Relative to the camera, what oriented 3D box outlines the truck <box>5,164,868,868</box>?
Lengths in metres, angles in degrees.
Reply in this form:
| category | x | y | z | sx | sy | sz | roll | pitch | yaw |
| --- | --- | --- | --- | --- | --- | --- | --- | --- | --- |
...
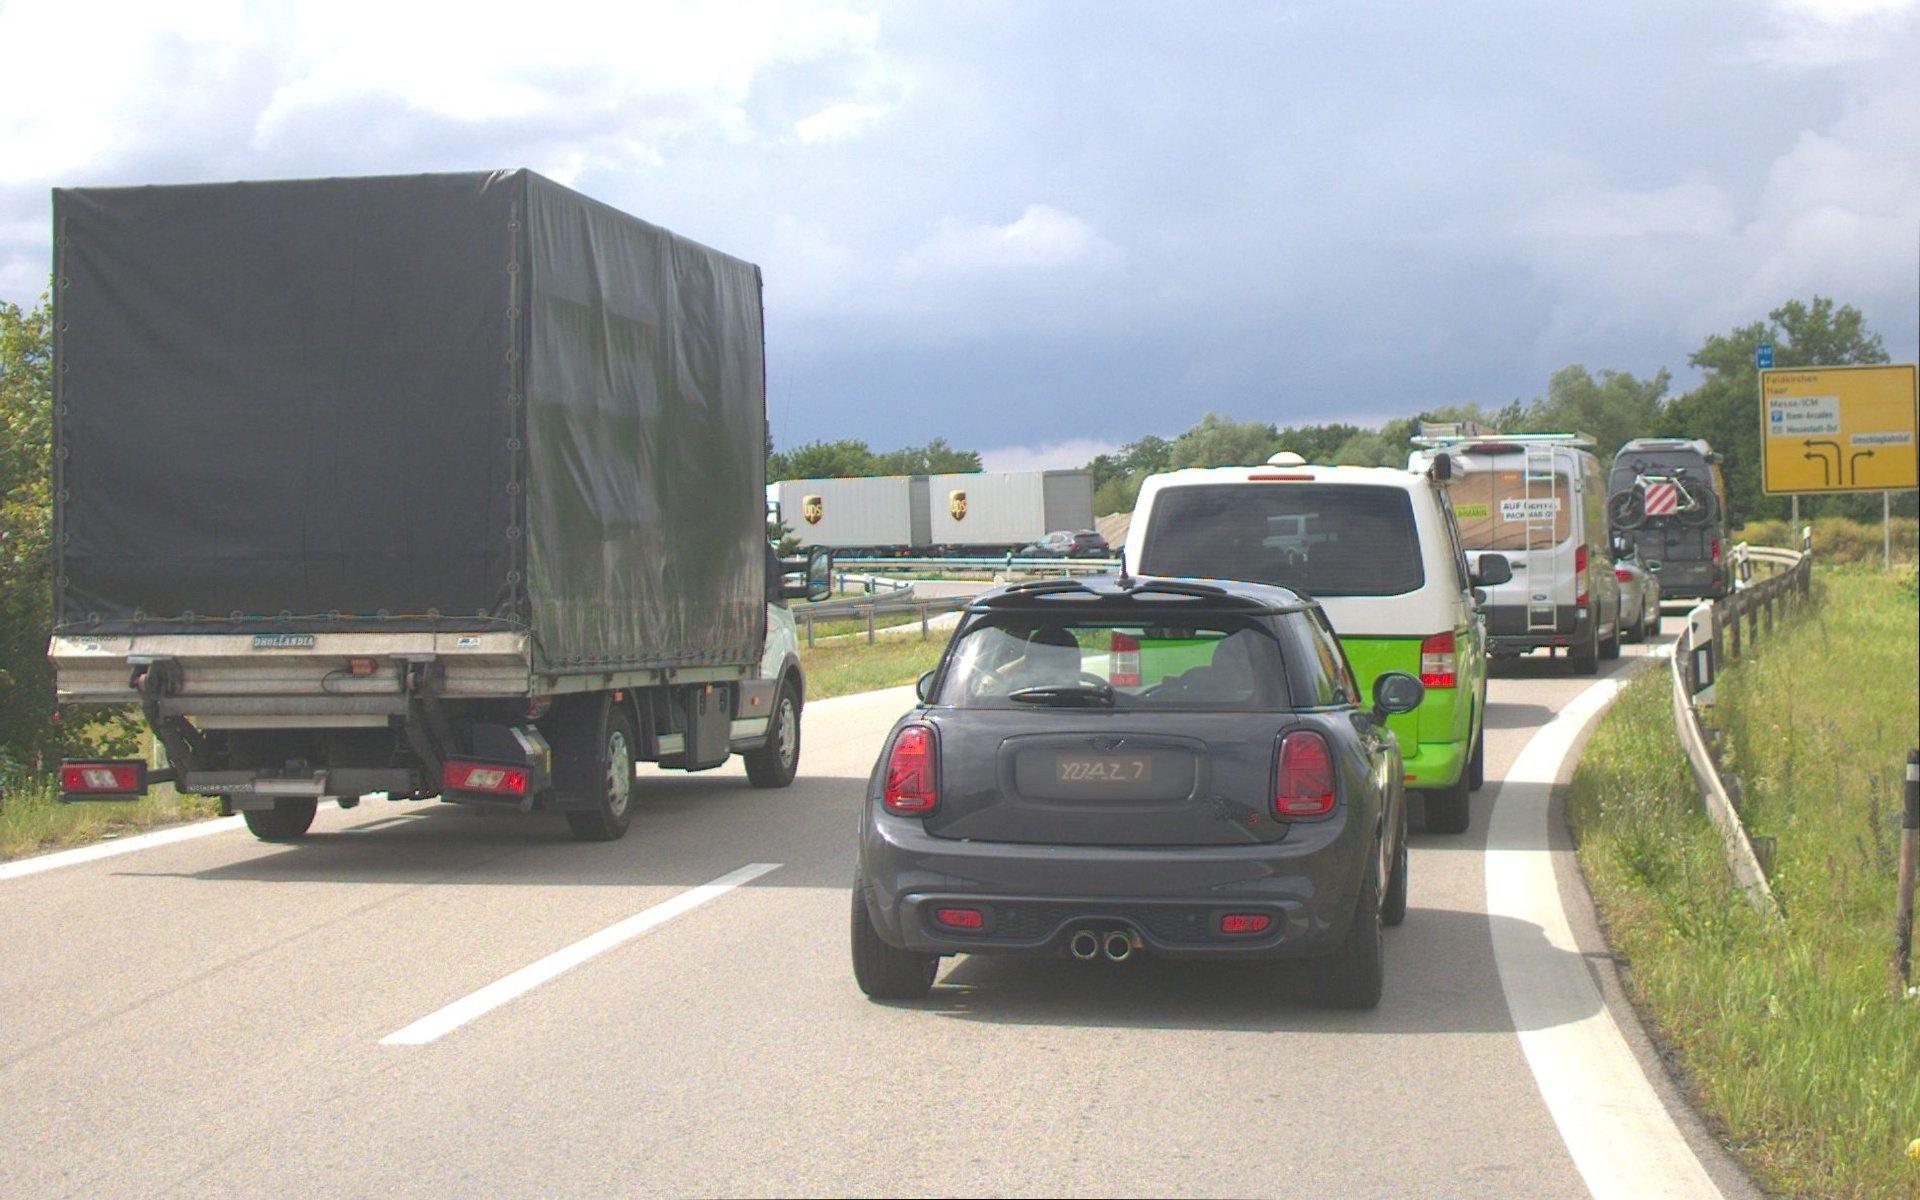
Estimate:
| category | x | y | z | sx | sy | sz | roll | pitch | yaw |
| --- | --- | --- | --- | --- | --- | --- | --- | --- | --- |
| truck | -2.507 | -0.403 | 19.324 | 2.561 | 3.157 | 7.465 | 1 | 0 | 10 |

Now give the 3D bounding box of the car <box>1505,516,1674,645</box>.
| category | x | y | z | sx | sy | sz | roll | pitch | yaw |
| --- | --- | --- | --- | --- | --- | --- | --- | --- | --- |
| car | 8.502 | -0.258 | 46.202 | 1.995 | 1.636 | 3.926 | 1 | 0 | 14 |

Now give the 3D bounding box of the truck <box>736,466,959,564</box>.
| category | x | y | z | sx | sy | sz | roll | pitch | yaw |
| --- | --- | --- | --- | --- | --- | --- | --- | --- | --- |
| truck | -4.800 | -3.549 | 144.278 | 10.021 | 3.962 | 2.839 | 1 | 0 | 40 |

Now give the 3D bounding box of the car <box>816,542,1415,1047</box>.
| category | x | y | z | sx | sy | sz | roll | pitch | yaw |
| --- | --- | --- | --- | --- | --- | --- | --- | --- | --- |
| car | 0.716 | 0.566 | 12.519 | 1.800 | 1.541 | 3.737 | 0 | 1 | 8 |

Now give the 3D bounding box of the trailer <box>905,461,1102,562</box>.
| category | x | y | z | sx | sy | sz | roll | pitch | yaw |
| --- | --- | --- | --- | --- | --- | --- | --- | --- | --- |
| trailer | 1.661 | -3.500 | 137.659 | 3.037 | 3.884 | 8.770 | 1 | 0 | -38 |

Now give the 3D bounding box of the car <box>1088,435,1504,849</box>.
| category | x | y | z | sx | sy | sz | roll | pitch | yaw |
| --- | --- | --- | --- | --- | --- | --- | --- | --- | --- |
| car | 1.986 | 0.183 | 19.186 | 1.912 | 2.038 | 4.179 | 0 | 1 | 11 |

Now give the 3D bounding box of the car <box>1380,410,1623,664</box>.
| category | x | y | z | sx | sy | sz | roll | pitch | yaw |
| --- | --- | --- | --- | --- | --- | --- | --- | --- | --- |
| car | 6.116 | -0.663 | 38.308 | 2.213 | 2.613 | 5.531 | 1 | 0 | 14 |

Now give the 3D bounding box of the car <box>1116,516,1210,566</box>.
| category | x | y | z | sx | sy | sz | roll | pitch | yaw |
| --- | --- | --- | --- | --- | --- | --- | --- | --- | --- |
| car | 7.727 | -2.230 | 131.281 | 1.921 | 1.831 | 4.318 | 1 | 0 | -22 |

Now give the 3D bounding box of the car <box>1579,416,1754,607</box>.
| category | x | y | z | sx | sy | sz | roll | pitch | yaw |
| --- | --- | --- | --- | --- | --- | --- | --- | --- | --- |
| car | 12.106 | -1.440 | 58.545 | 2.313 | 3.058 | 6.656 | 1 | 0 | 17 |

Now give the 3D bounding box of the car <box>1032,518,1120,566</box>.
| category | x | y | z | sx | sy | sz | roll | pitch | yaw |
| --- | --- | --- | --- | --- | --- | --- | --- | --- | --- |
| car | 4.357 | -2.174 | 129.568 | 1.812 | 1.750 | 4.001 | 1 | 0 | -22 |

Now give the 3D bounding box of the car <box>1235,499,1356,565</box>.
| category | x | y | z | sx | sy | sz | roll | pitch | yaw |
| --- | --- | --- | --- | --- | --- | --- | --- | --- | --- |
| car | 11.967 | -2.410 | 123.004 | 2.289 | 2.252 | 5.109 | 1 | 0 | -20 |
